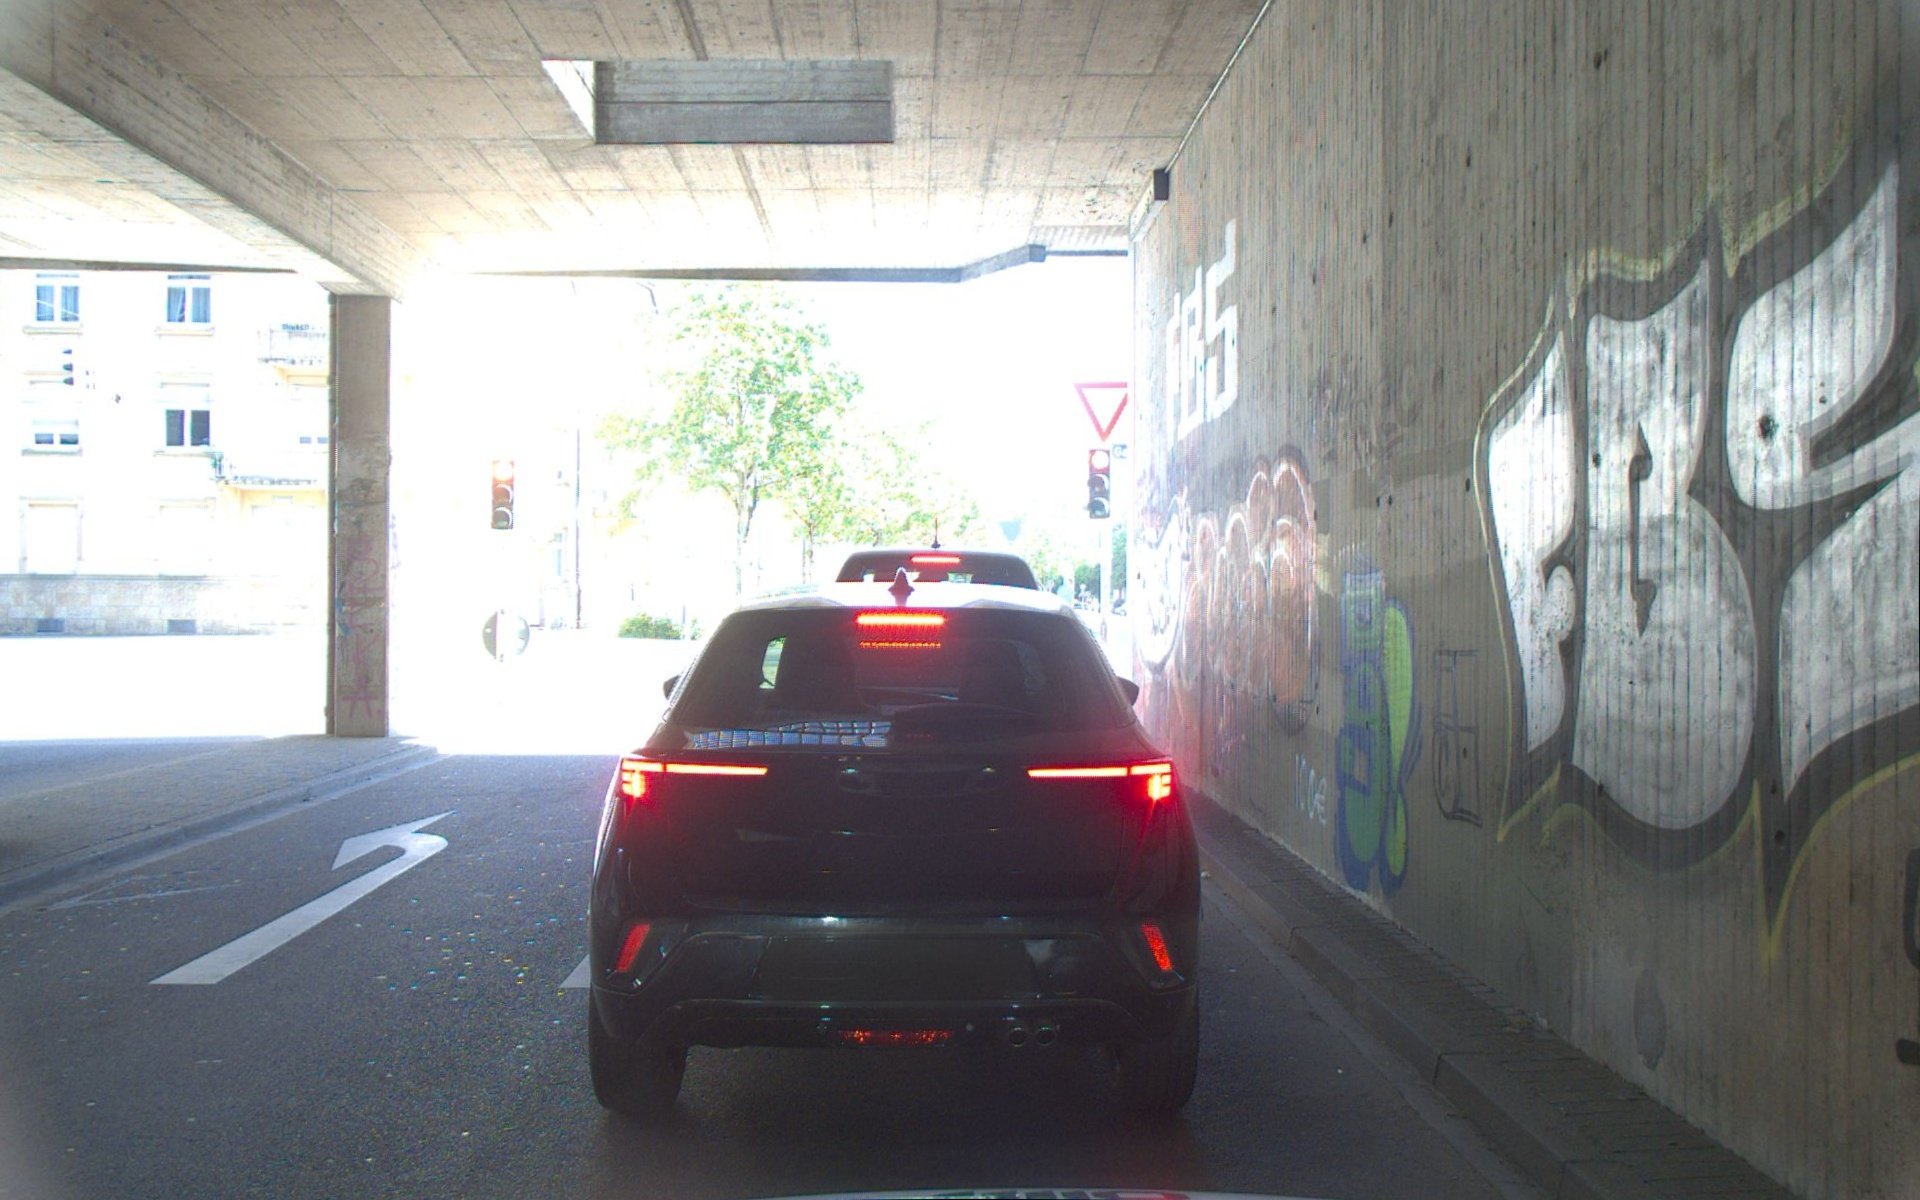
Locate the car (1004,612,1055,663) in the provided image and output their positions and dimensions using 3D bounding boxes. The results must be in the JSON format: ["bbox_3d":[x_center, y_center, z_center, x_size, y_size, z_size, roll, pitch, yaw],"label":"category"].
[{"bbox_3d":[2.894,1.537,68.511,1.951,2.004,4.166,1,0,4],"label":"car"}]

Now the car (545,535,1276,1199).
[{"bbox_3d":[-0.146,0.613,5.972,1.729,1.598,4.000,1,1,-1],"label":"car"}]

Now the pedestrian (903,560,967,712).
[{"bbox_3d":[-0.300,0.420,19.787,0.716,1.764,0.874,1,-1,-1],"label":"pedestrian"}]

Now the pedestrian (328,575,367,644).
[{"bbox_3d":[-15.097,0.240,40.800,0.658,1.666,0.740,1,-1,-1],"label":"pedestrian"}]

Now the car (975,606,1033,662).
[{"bbox_3d":[1.699,1.259,62.358,1.951,2.004,4.166,1,0,4],"label":"car"}]

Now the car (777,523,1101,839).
[{"bbox_3d":[-0.152,0.478,12.013,1.953,1.904,3.999,0,0,-1],"label":"car"}]
